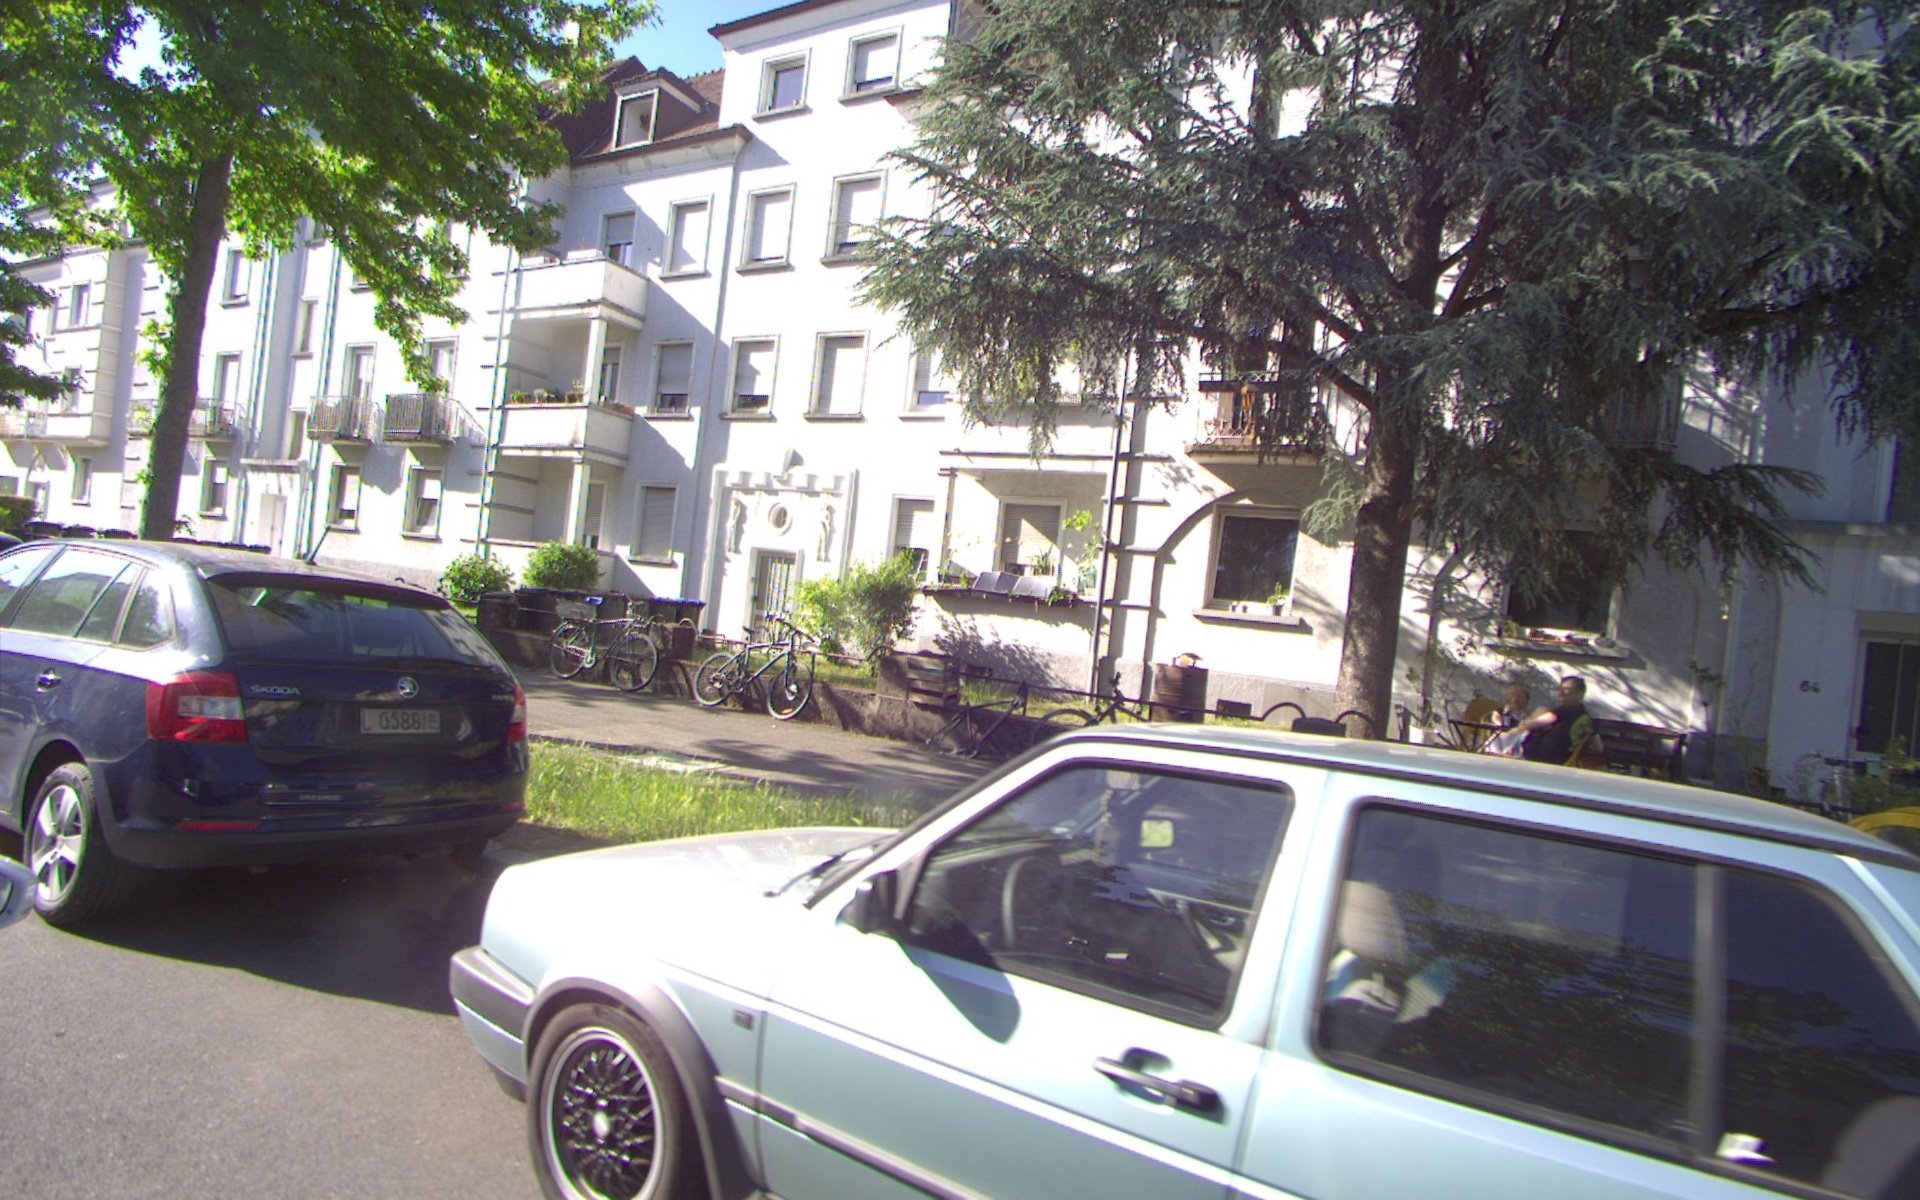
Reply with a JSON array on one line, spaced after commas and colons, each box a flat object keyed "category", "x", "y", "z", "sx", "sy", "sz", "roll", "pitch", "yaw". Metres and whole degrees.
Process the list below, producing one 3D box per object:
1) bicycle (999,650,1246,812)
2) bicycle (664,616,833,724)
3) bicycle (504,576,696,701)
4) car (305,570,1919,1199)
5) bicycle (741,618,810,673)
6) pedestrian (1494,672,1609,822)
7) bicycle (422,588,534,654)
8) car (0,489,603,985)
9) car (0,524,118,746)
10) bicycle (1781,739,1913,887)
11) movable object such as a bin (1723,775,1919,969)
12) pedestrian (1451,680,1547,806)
[{"category": "bicycle", "x": 1.469, "y": 1.144, "z": 9.135, "sx": 1.965, "sy": 1.128, "sz": 0.806, "roll": 6, "pitch": -2, "yaw": 27}, {"category": "bicycle", "x": -2.402, "y": 0.771, "z": 11.342, "sx": 1.871, "sy": 0.969, "sz": 0.596, "roll": 6, "pitch": 0, "yaw": 30}, {"category": "bicycle", "x": -4.466, "y": 0.468, "z": 12.451, "sx": 2.192, "sy": 1.272, "sz": 0.841, "roll": 6, "pitch": -2, "yaw": 26}, {"category": "car", "x": 0.693, "y": 0.950, "z": 2.311, "sx": 4.387, "sy": 1.470, "sz": 1.756, "roll": 6, "pitch": -4, "yaw": 30}, {"category": "bicycle", "x": -3.599, "y": 0.873, "z": 19.725, "sx": 0.467, "sy": 0.984, "sz": 1.582, "roll": 6, "pitch": 1, "yaw": 23}, {"category": "pedestrian", "x": 5.104, "y": 1.252, "z": 8.700, "sx": 0.743, "sy": 1.156, "sz": 0.510, "roll": 6, "pitch": -2, "yaw": 32}, {"category": "bicycle", "x": -7.804, "y": 0.346, "z": 16.343, "sx": 0.492, "sy": 0.984, "sz": 1.580, "roll": 6, "pitch": 1, "yaw": 30}, {"category": "car", "x": -4.066, "y": 0.362, "z": 5.100, "sx": 4.366, "sy": 1.558, "sz": 1.697, "roll": 6, "pitch": -2, "yaw": 30}, {"category": "car", "x": -8.127, "y": 0.051, "z": 7.300, "sx": 3.717, "sy": 1.469, "sz": 1.793, "roll": 6, "pitch": -3, "yaw": 30}, {"category": "bicycle", "x": 8.414, "y": 1.966, "z": 9.614, "sx": 0.573, "sy": 1.113, "sz": 1.899, "roll": 6, "pitch": -1, "yaw": 33}, {"category": "movable object such as a bin", "x": 5.843, "y": 1.677, "z": 6.106, "sx": 1.216, "sy": 0.915, "sz": 1.646, "roll": 7, "pitch": -1, "yaw": -39}, {"category": "pedestrian", "x": 5.491, "y": 1.438, "z": 10.273, "sx": 0.743, "sy": 1.156, "sz": 0.511, "roll": 6, "pitch": -1, "yaw": 28}]
